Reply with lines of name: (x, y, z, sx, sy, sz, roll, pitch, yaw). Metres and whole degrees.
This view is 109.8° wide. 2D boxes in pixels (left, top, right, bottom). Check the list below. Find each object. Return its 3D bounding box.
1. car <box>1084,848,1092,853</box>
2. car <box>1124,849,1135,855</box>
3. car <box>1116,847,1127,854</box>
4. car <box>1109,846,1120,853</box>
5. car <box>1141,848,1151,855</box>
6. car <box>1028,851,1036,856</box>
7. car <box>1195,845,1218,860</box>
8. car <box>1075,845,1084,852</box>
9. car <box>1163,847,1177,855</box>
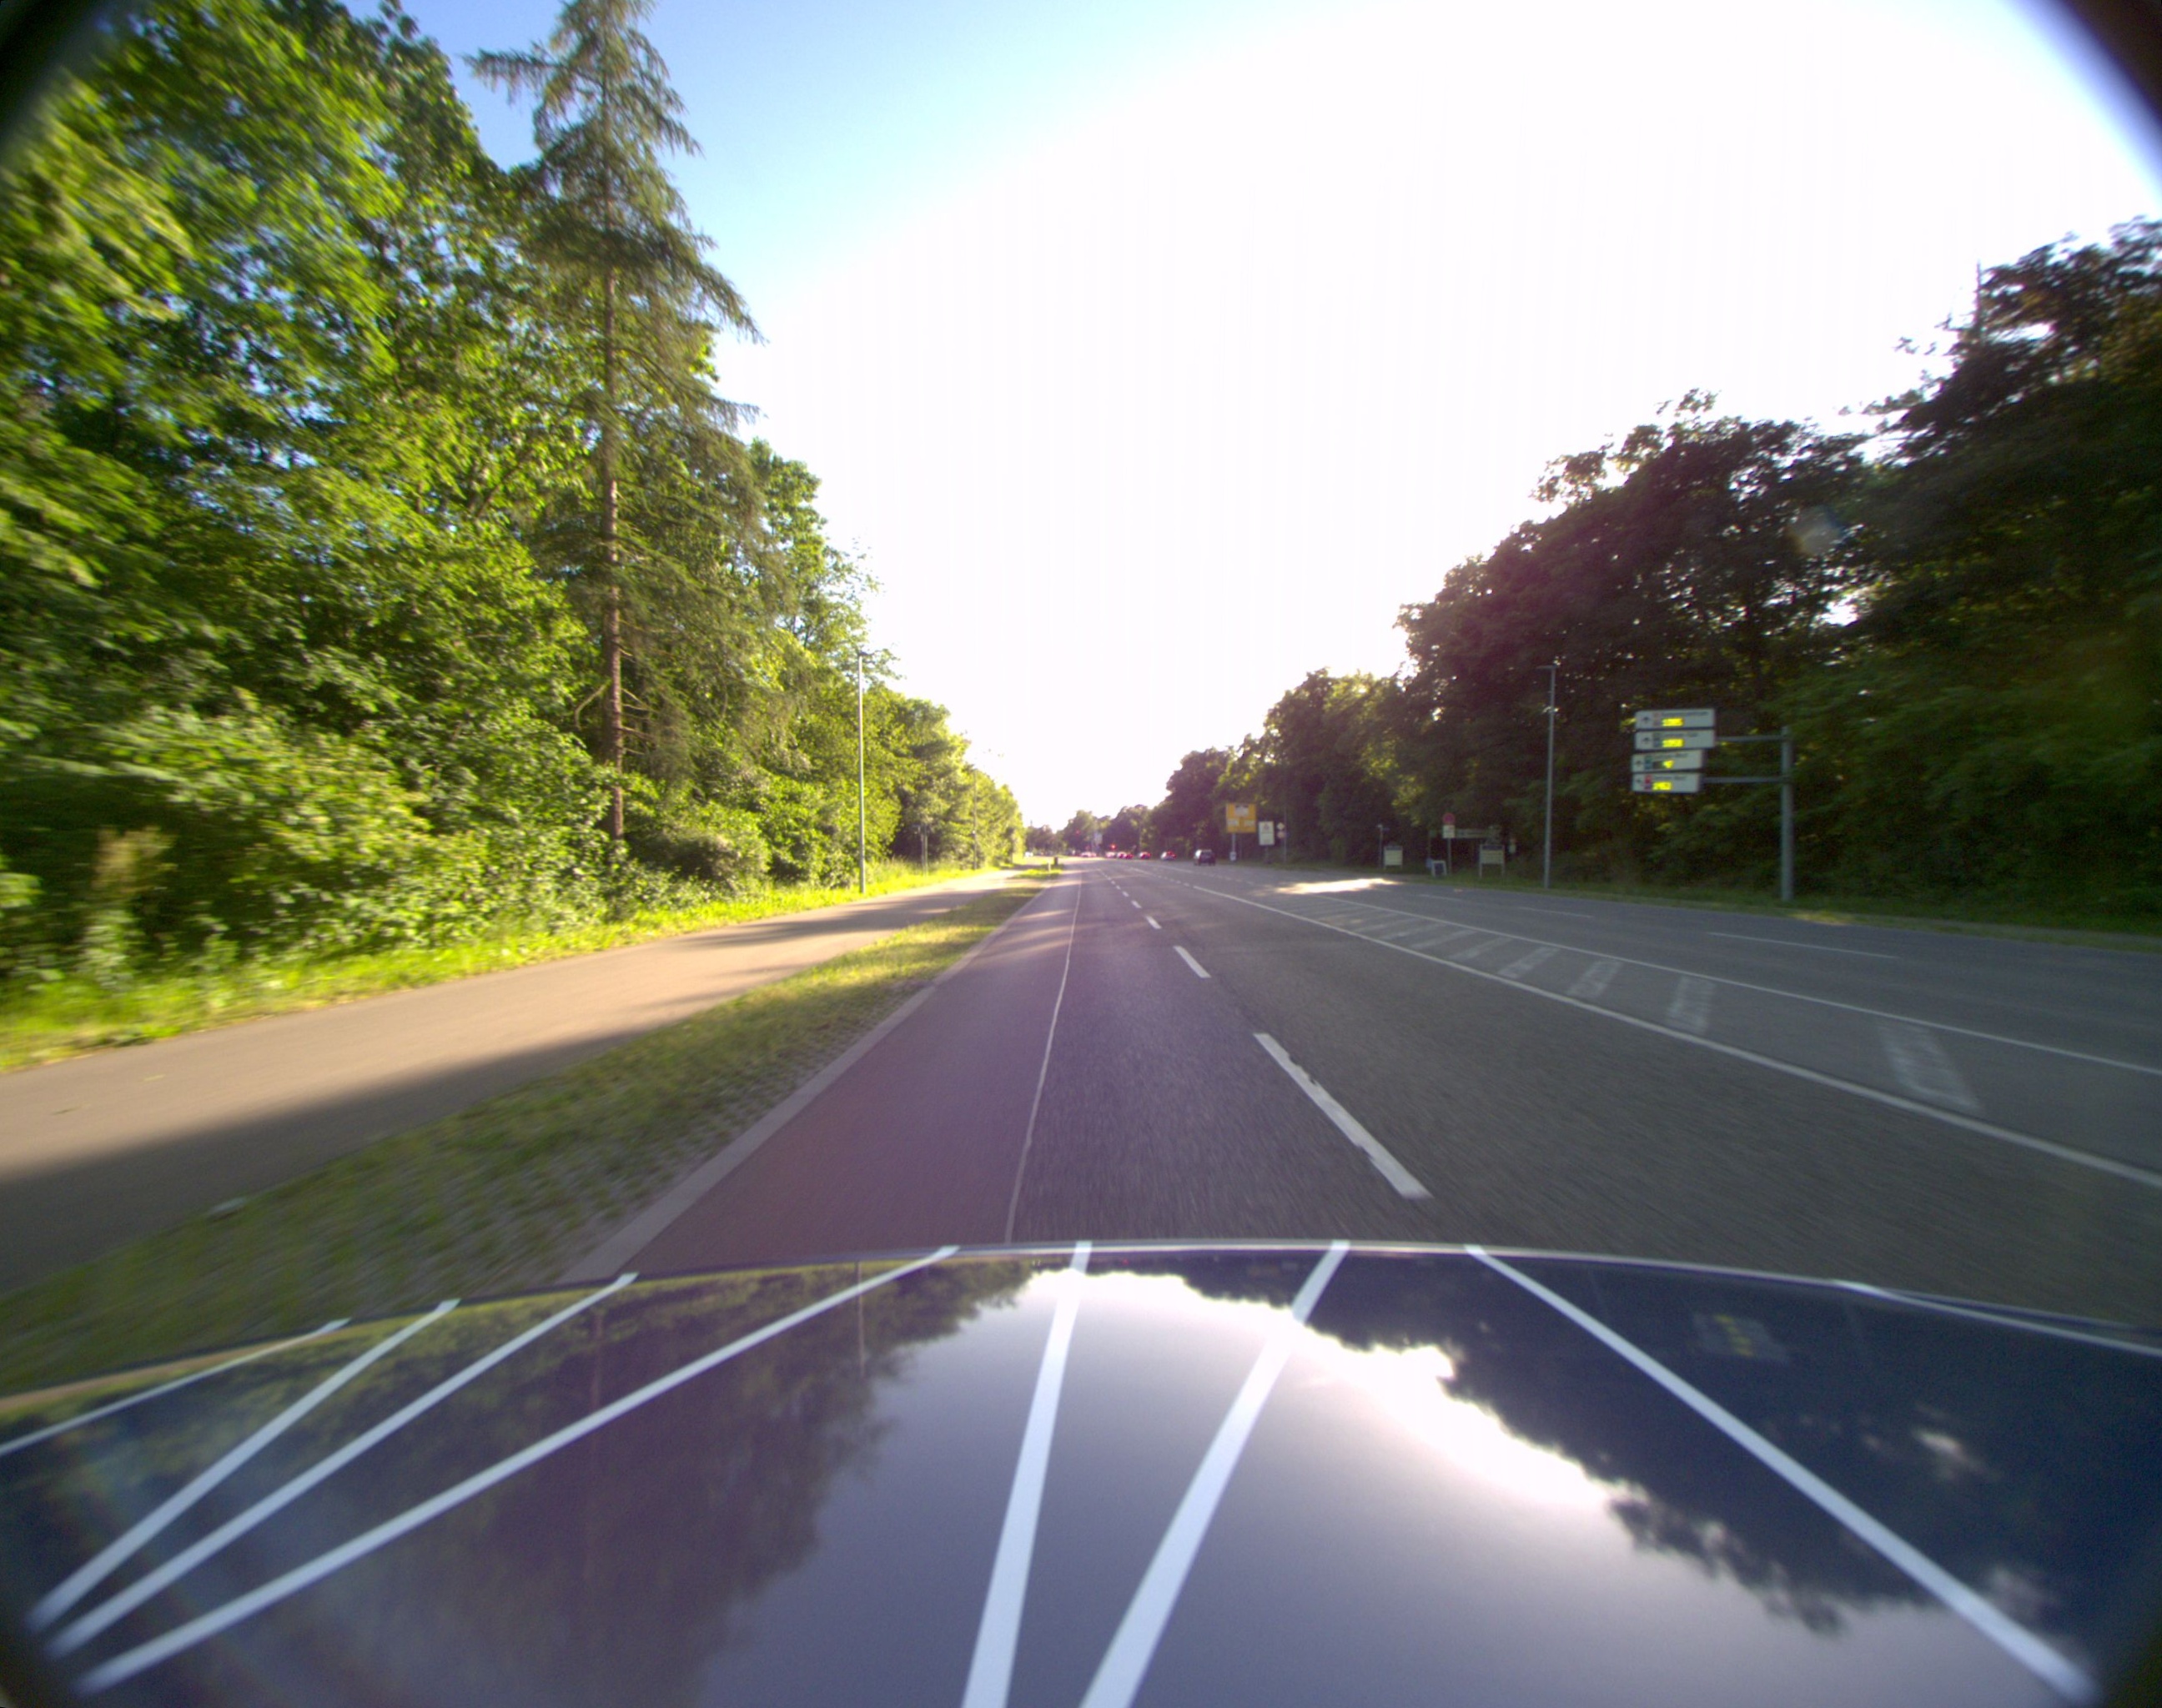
car: (2.000, -0.983, 207.675, 1.749, 1.227, 4.671, 0, 0, -5)
car: (11.430, -0.441, 180.646, 1.999, 1.555, 4.336, 0, 0, -5)
car: (10.071, -0.905, 188.442, 2.000, 1.627, 4.840, 0, 0, -6)
car: (8.524, -1.151, 195.453, 2.000, 1.555, 4.644, 3, 0, -6)
car: (13.647, -0.529, 159.161, 1.829, 1.536, 4.257, -1, 1, 2)
car: (-16.561, -0.190, 257.641, 2.000, 1.510, 3.995, -1, 2, -12)
car: (13.336, -0.157, 80.877, 1.829, 1.580, 4.351, -1, 1, 1)
car: (-0.491, -1.566, 224.573, 2.000, 1.950, 4.643, 1, 1, -9)
car: (15.576, -0.527, 133.136, 1.829, 1.495, 4.306, -1, 1, 1)
